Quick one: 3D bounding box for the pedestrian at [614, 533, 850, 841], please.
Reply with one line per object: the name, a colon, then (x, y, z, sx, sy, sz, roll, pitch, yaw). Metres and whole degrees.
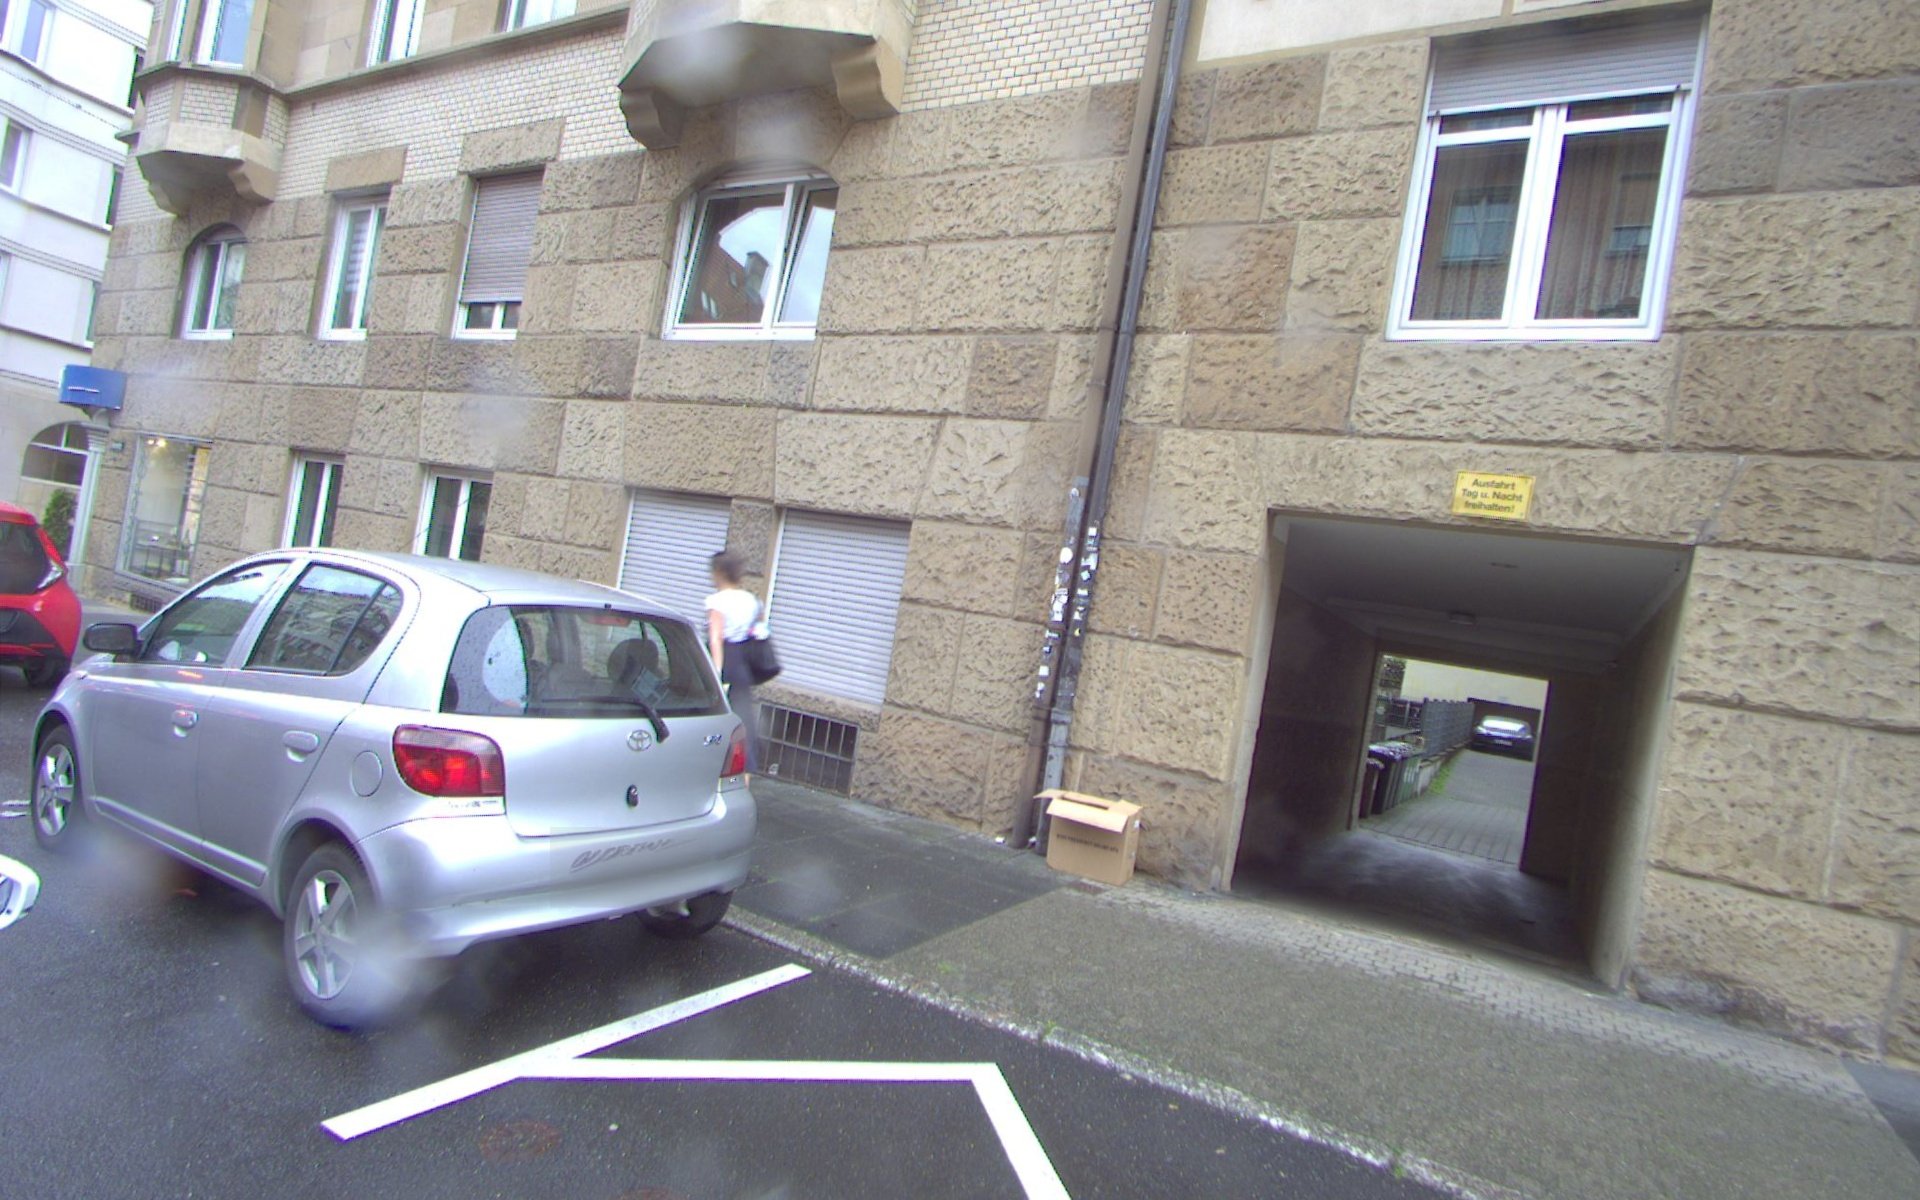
pedestrian: (-1.478, 0.528, 6.530, 1.093, 1.768, 0.743, 6, -1, 32)

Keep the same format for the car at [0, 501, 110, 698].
car: (-8.720, -0.194, 8.157, 3.243, 1.464, 1.646, 7, -2, 29)

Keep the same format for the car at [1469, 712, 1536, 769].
car: (18.351, 4.712, 33.923, 1.693, 1.538, 4.102, 7, -3, 31)

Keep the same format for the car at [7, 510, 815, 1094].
car: (-2.471, 0.554, 4.380, 3.258, 1.485, 1.616, 7, -1, 33)
